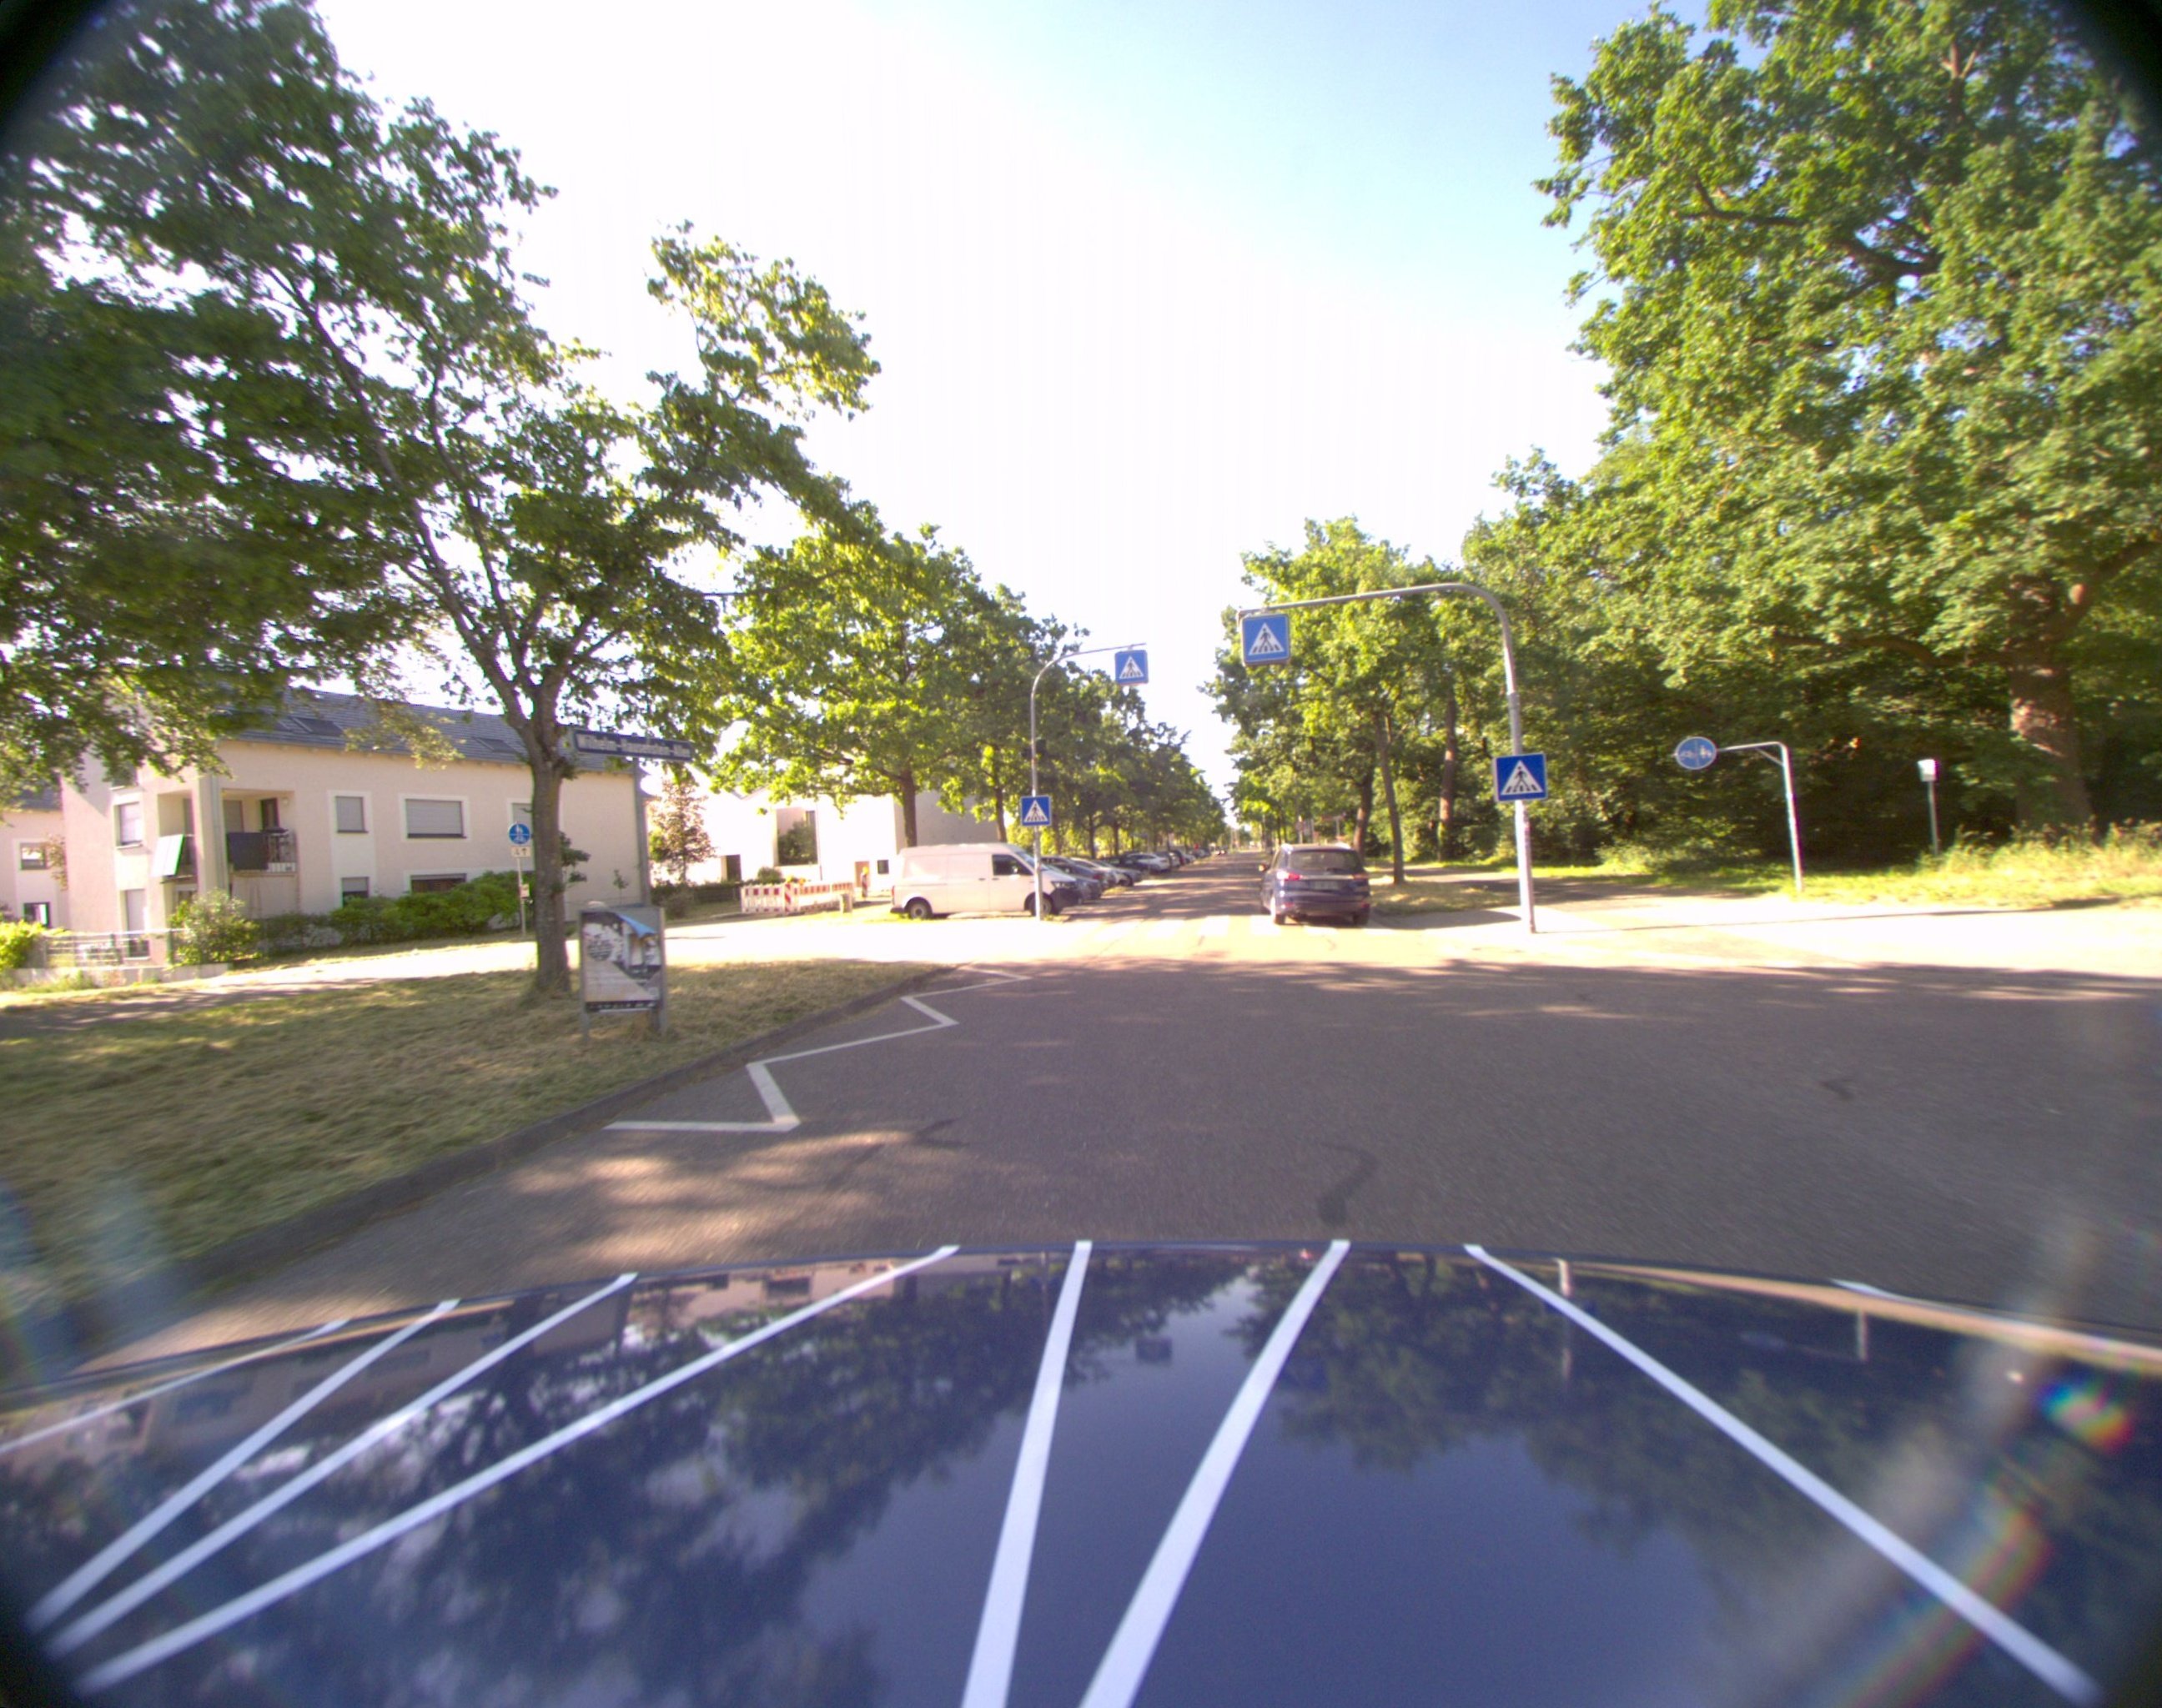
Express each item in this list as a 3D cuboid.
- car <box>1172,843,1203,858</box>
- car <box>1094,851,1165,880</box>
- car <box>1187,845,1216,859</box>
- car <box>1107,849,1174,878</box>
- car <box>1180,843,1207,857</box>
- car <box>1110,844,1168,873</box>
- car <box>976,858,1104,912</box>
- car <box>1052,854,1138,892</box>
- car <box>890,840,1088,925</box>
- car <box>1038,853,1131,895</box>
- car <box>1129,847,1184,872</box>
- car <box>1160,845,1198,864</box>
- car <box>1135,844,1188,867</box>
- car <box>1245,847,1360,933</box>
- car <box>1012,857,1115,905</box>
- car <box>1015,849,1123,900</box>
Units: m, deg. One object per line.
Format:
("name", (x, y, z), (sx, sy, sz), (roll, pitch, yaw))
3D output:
("car", (15.019, -0.460, 107.305), (4.148, 1.838, 1.951), (-4, 0, 12))
("car", (3.227, 0.756, 50.567), (4.391, 1.632, 1.534), (-4, 0, 13))
("car", (18.718, -0.347, 118.079), (4.148, 1.838, 1.951), (-4, 0, 12))
("car", (4.182, 0.679, 53.405), (4.391, 1.733, 1.534), (-4, 0, 13))
("car", (18.313, -0.649, 123.322), (4.148, 1.838, 1.951), (-4, 0, 12))
("car", (4.657, 0.359, 60.946), (4.391, 1.977, 1.534), (-4, 0, 13))
("car", (-1.380, 1.050, 26.185), (3.993, 1.554, 1.759), (-4, 0, 13))
("car", (0.740, 0.952, 38.719), (4.016, 1.650, 1.534), (-4, 0, 13))
("car", (-2.512, 0.780, 21.194), (5.041, 2.069, 1.892), (-3, 0, 11))
("car", (0.169, 0.927, 35.761), (4.016, 1.669, 1.534), (-4, 0, 13))
("car", (6.417, 0.469, 64.519), (4.391, 1.733, 1.534), (-4, 0, 13))
("car", (11.201, 0.050, 86.685), (3.993, 1.838, 1.865), (-4, 0, 12))
("car", (7.087, 0.107, 66.797), (4.391, 1.733, 1.534), (-4, 0, 13))
("car", (4.743, 0.689, 16.900), (1.825, 1.615, 4.495), (-2, 0, 8))
("car", (-0.631, 1.010, 28.625), (3.513, 1.533, 1.449), (-4, 0, 13))
("car", (-0.477, 0.829, 31.197), (4.016, 1.783, 1.714), (-4, 0, 13))
